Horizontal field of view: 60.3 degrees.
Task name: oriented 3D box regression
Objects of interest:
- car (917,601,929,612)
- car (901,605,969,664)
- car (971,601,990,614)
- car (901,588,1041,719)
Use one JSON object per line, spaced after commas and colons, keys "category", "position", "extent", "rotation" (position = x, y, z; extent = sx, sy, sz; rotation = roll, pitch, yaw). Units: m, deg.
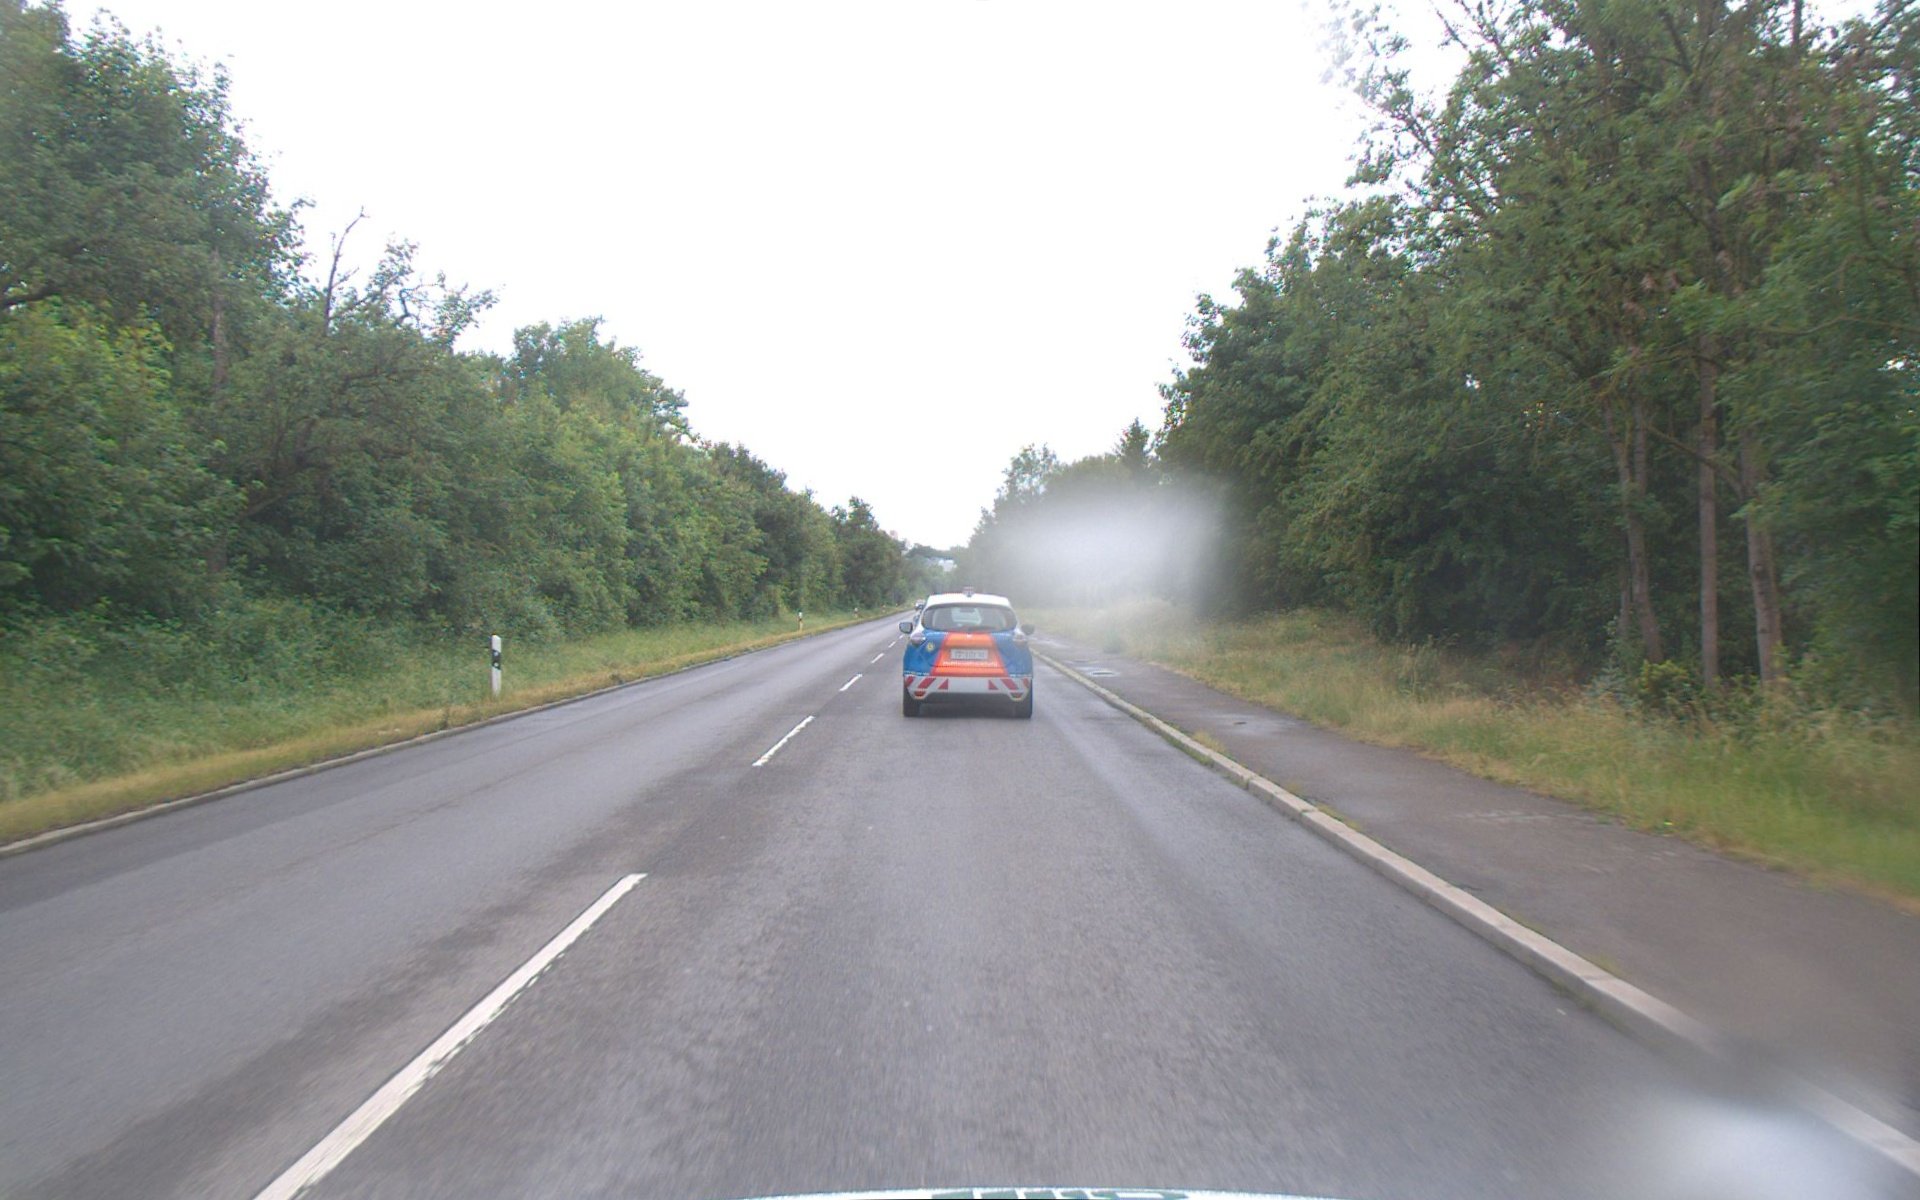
{"category": "car", "position": [-5.675, 0.964, 253.695], "extent": [1.867, 1.584, 4.514], "rotation": [-1, 0, -1]}
{"category": "car", "position": [-0.577, 0.806, 40.046], "extent": [1.566, 1.309, 3.476], "rotation": [-1, 0, 0]}
{"category": "car", "position": [2.249, 0.812, 182.354], "extent": [1.953, 1.400, 4.000], "rotation": [-1, 0, 0]}
{"category": "car", "position": [0.115, 0.647, 22.391], "extent": [1.716, 1.583, 3.792], "rotation": [1, 1, -1]}
